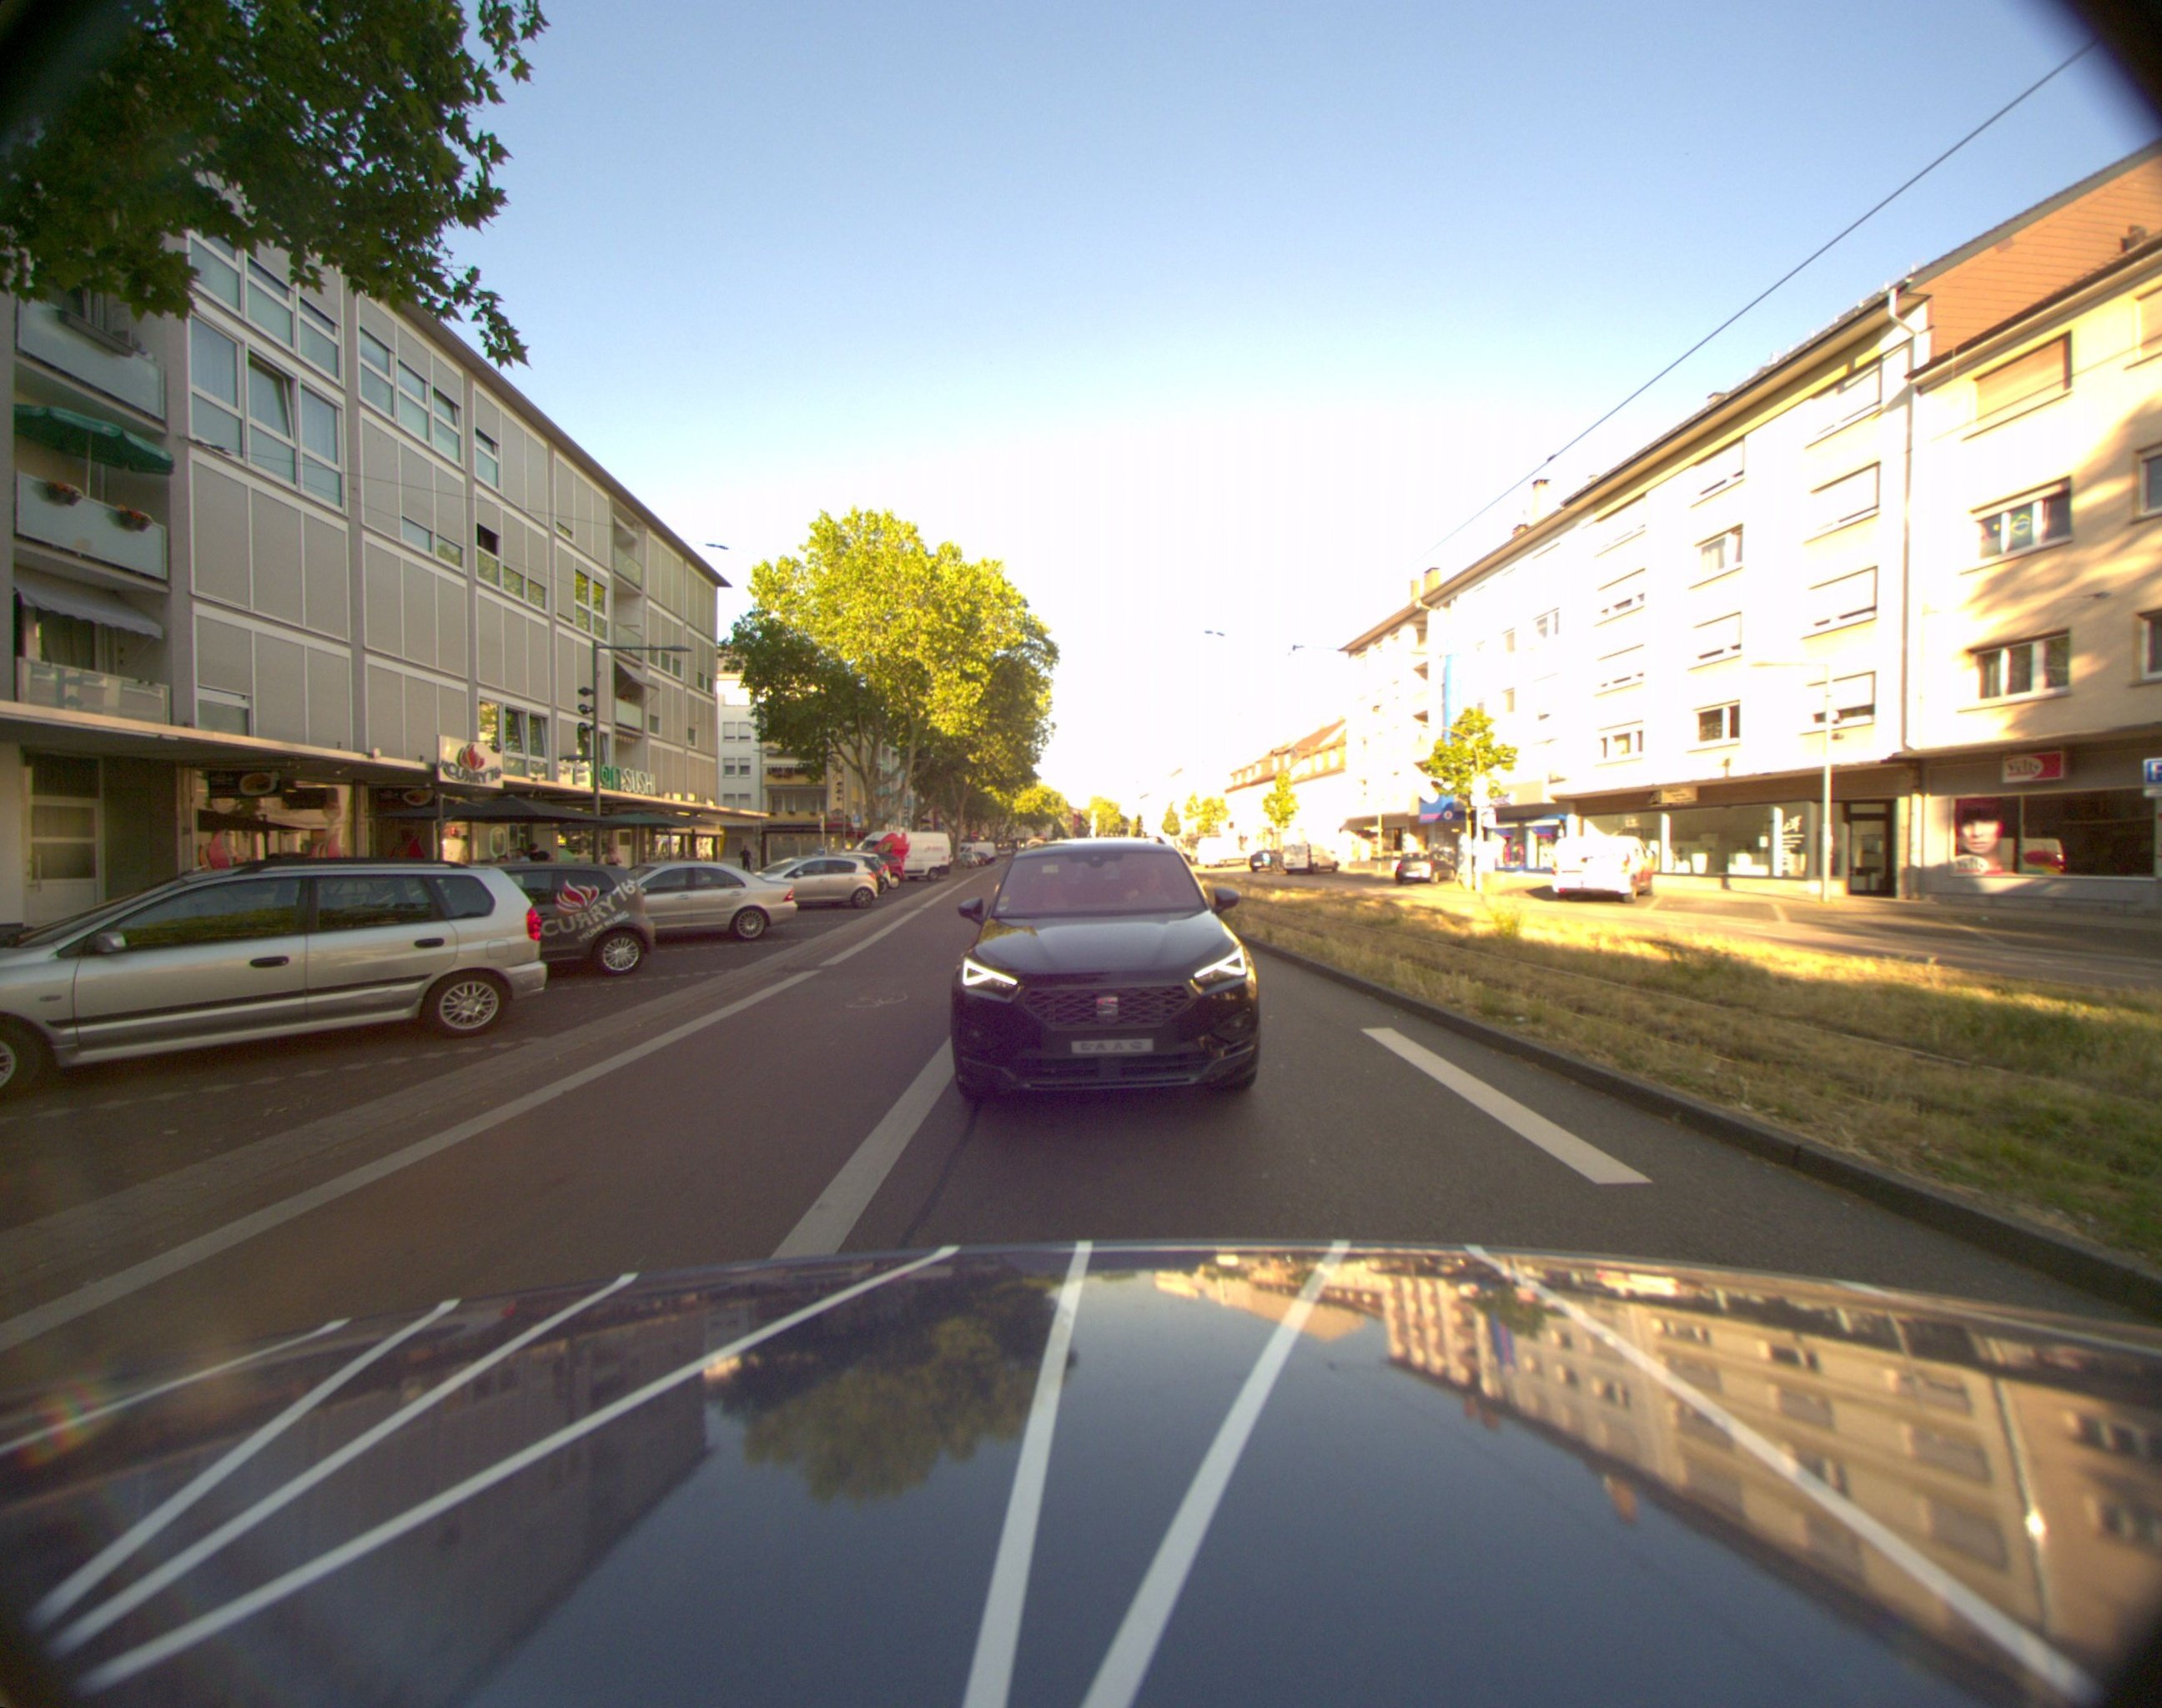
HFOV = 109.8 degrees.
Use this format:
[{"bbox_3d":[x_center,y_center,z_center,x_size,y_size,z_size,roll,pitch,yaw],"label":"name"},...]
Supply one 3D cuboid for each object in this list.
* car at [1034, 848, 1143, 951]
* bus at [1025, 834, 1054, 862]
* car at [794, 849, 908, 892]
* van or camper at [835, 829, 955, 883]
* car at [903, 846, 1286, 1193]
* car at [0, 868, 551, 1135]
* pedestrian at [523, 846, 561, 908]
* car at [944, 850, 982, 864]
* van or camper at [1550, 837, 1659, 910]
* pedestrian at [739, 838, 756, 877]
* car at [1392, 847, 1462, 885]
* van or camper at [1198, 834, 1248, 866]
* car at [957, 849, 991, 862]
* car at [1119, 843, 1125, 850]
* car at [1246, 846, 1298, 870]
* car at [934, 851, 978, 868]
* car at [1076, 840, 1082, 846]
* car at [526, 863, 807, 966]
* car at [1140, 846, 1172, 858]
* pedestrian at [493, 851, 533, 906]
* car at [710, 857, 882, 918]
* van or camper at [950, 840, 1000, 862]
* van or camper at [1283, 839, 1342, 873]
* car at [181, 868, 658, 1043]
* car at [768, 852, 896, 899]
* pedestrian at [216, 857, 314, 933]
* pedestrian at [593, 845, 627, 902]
[{"bbox_3d":[0.067,0.679,13.660,1.659,1.572,3.999,0,1,-1],"label":"car"},{"bbox_3d":[-4.983,-0.811,89.172,2.873,2.962,12.231,-2,2,-4],"label":"bus"},{"bbox_3d":[-9.096,0.615,30.203,4.008,1.555,1.654,0,2,-44],"label":"car"},{"bbox_3d":[-9.110,0.056,37.601,5.474,2.455,1.994,-1,1,-44],"label":"van or camper"},{"bbox_3d":[0.096,0.791,5.711,1.808,1.638,3.999,-2,1,1],"label":"car"},{"bbox_3d":[-6.912,0.962,6.085,1.804,1.597,4.008,1,1,38],"label":"car"},{"bbox_3d":[-14.334,0.601,20.219,0.538,1.582,0.686,2,1,-5],"label":"pedestrian"},{"bbox_3d":[-11.477,0.254,74.014,3.337,1.339,1.526,0,2,-44],"label":"car"},{"bbox_3d":[15.833,0.503,22.886,1.946,1.887,4.824,-1,1,43],"label":"van or camper"},{"bbox_3d":[-17.682,0.181,40.302,0.550,2.002,0.578,-1,2,38],"label":"pedestrian"},{"bbox_3d":[15.627,0.510,34.216,1.765,1.482,4.460,-1,1,39],"label":"car"},{"bbox_3d":[12.912,-0.409,68.548,1.994,2.652,6.410,-2,1,34],"label":"van or camper"},{"bbox_3d":[-11.386,0.169,81.267,3.337,1.339,1.526,0,2,-44],"label":"car"},{"bbox_3d":[12.373,-2.275,230.578,1.869,1.832,3.826,0,1,2],"label":"car"},{"bbox_3d":[13.753,0.284,54.643,1.874,1.577,4.008,-1,1,43],"label":"car"},{"bbox_3d":[-10.551,0.474,64.225,3.337,1.339,1.526,0,2,-44],"label":"car"},{"bbox_3d":[-0.571,-3.043,207.494,1.740,1.539,3.999,0,1,0],"label":"car"},{"bbox_3d":[-7.126,0.934,13.356,1.654,1.428,4.008,2,2,43],"label":"car"},{"bbox_3d":[10.170,-0.238,103.182,3.921,1.482,1.766,-3,1,-27],"label":"car"},{"bbox_3d":[-14.930,0.635,19.995,0.538,1.392,0.686,2,1,-5],"label":"pedestrian"},{"bbox_3d":[-7.612,0.830,20.500,4.008,1.428,1.654,0,2,-44],"label":"car"},{"bbox_3d":[-11.823,-0.369,84.757,1.994,2.455,5.474,1,1,44],"label":"van or camper"},{"bbox_3d":[14.588,0.108,47.782,1.795,1.978,4.460,-1,1,41],"label":"van or camper"},{"bbox_3d":[-7.574,0.963,9.068,1.804,1.498,4.008,1,1,38],"label":"car"},{"bbox_3d":[-8.791,0.699,27.008,4.008,1.514,1.654,0,2,-44],"label":"car"},{"bbox_3d":[-15.158,0.744,14.149,0.750,1.354,0.962,0,1,0],"label":"pedestrian"},{"bbox_3d":[-13.394,0.549,21.628,0.538,1.582,0.686,2,1,-5],"label":"pedestrian"}]
